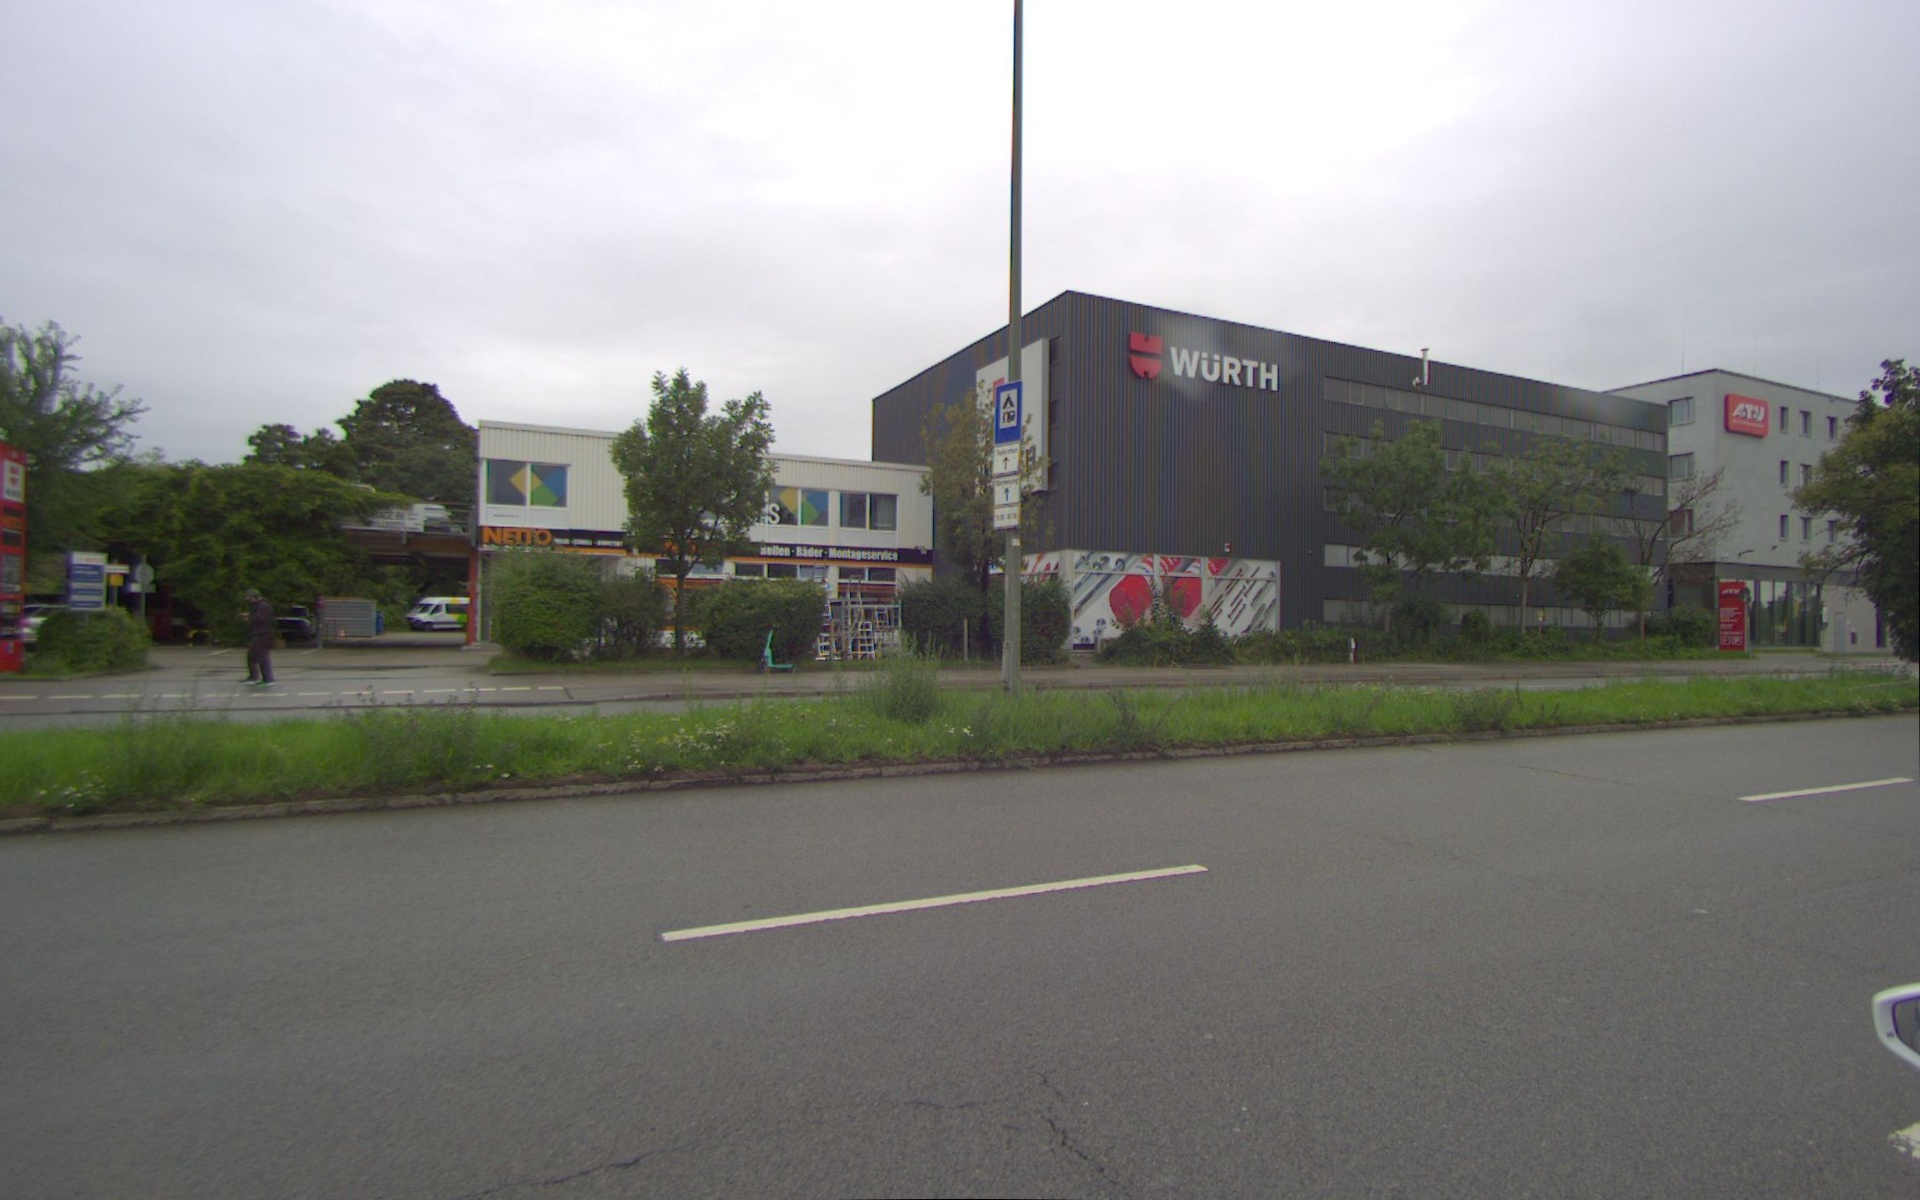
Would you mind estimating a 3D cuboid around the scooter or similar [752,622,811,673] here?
[{"bbox_3d":[-4.511,1.203,25.407,1.370,1.243,0.443,2,-1,-29],"label":"scooter or similar"}]

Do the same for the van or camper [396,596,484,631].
[{"bbox_3d":[-39.830,1.056,77.158,1.961,2.488,6.119,0,-2,22],"label":"van or camper"}]

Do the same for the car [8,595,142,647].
[{"bbox_3d":[-28.116,0.649,32.094,1.835,1.487,3.981,3,-1,-21],"label":"car"}]

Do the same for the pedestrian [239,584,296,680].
[{"bbox_3d":[-13.695,0.636,19.893,0.806,1.854,0.620,1,-1,-27],"label":"pedestrian"}]

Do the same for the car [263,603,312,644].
[{"bbox_3d":[-31.419,1.135,46.957,1.707,1.727,3.637,6,-5,-34],"label":"car"}]
